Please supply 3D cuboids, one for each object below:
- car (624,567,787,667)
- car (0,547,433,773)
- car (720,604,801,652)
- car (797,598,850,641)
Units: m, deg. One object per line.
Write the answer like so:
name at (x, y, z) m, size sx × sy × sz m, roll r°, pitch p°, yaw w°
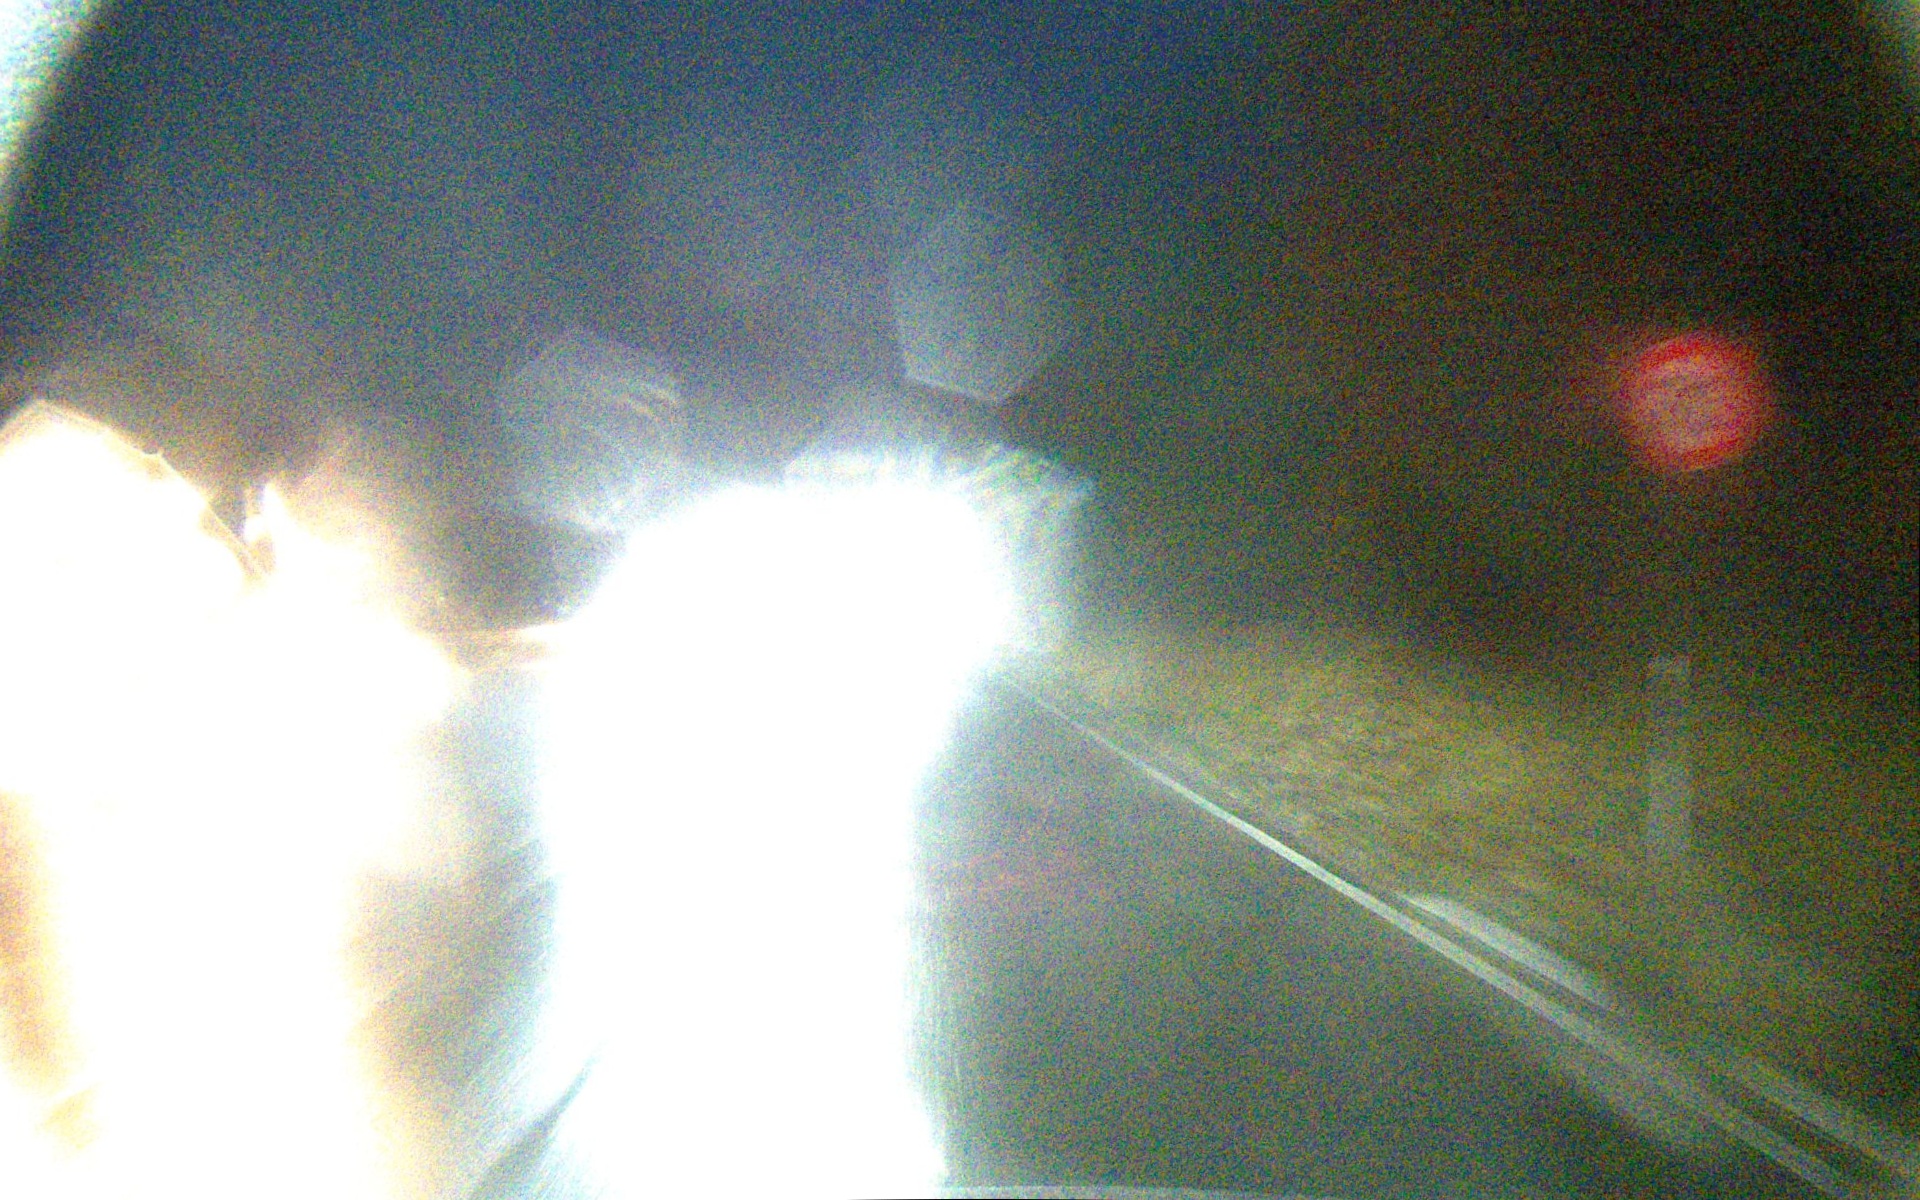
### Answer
car at (-4.439, 0.283, 29.573) m, size 2.067 × 1.603 × 4.680 m, roll 1°, pitch 0°, yaw 1°
car at (-7.254, 0.503, 16.661) m, size 1.952 × 1.897 × 5.321 m, roll 0°, pitch 0°, yaw 3°
car at (-6.246, 0.850, 52.225) m, size 1.766 × 1.407 × 4.773 m, roll 1°, pitch 0°, yaw 2°
car at (-5.442, 0.766, 66.368) m, size 1.884 × 1.643 × 4.084 m, roll 1°, pitch 0°, yaw -2°
